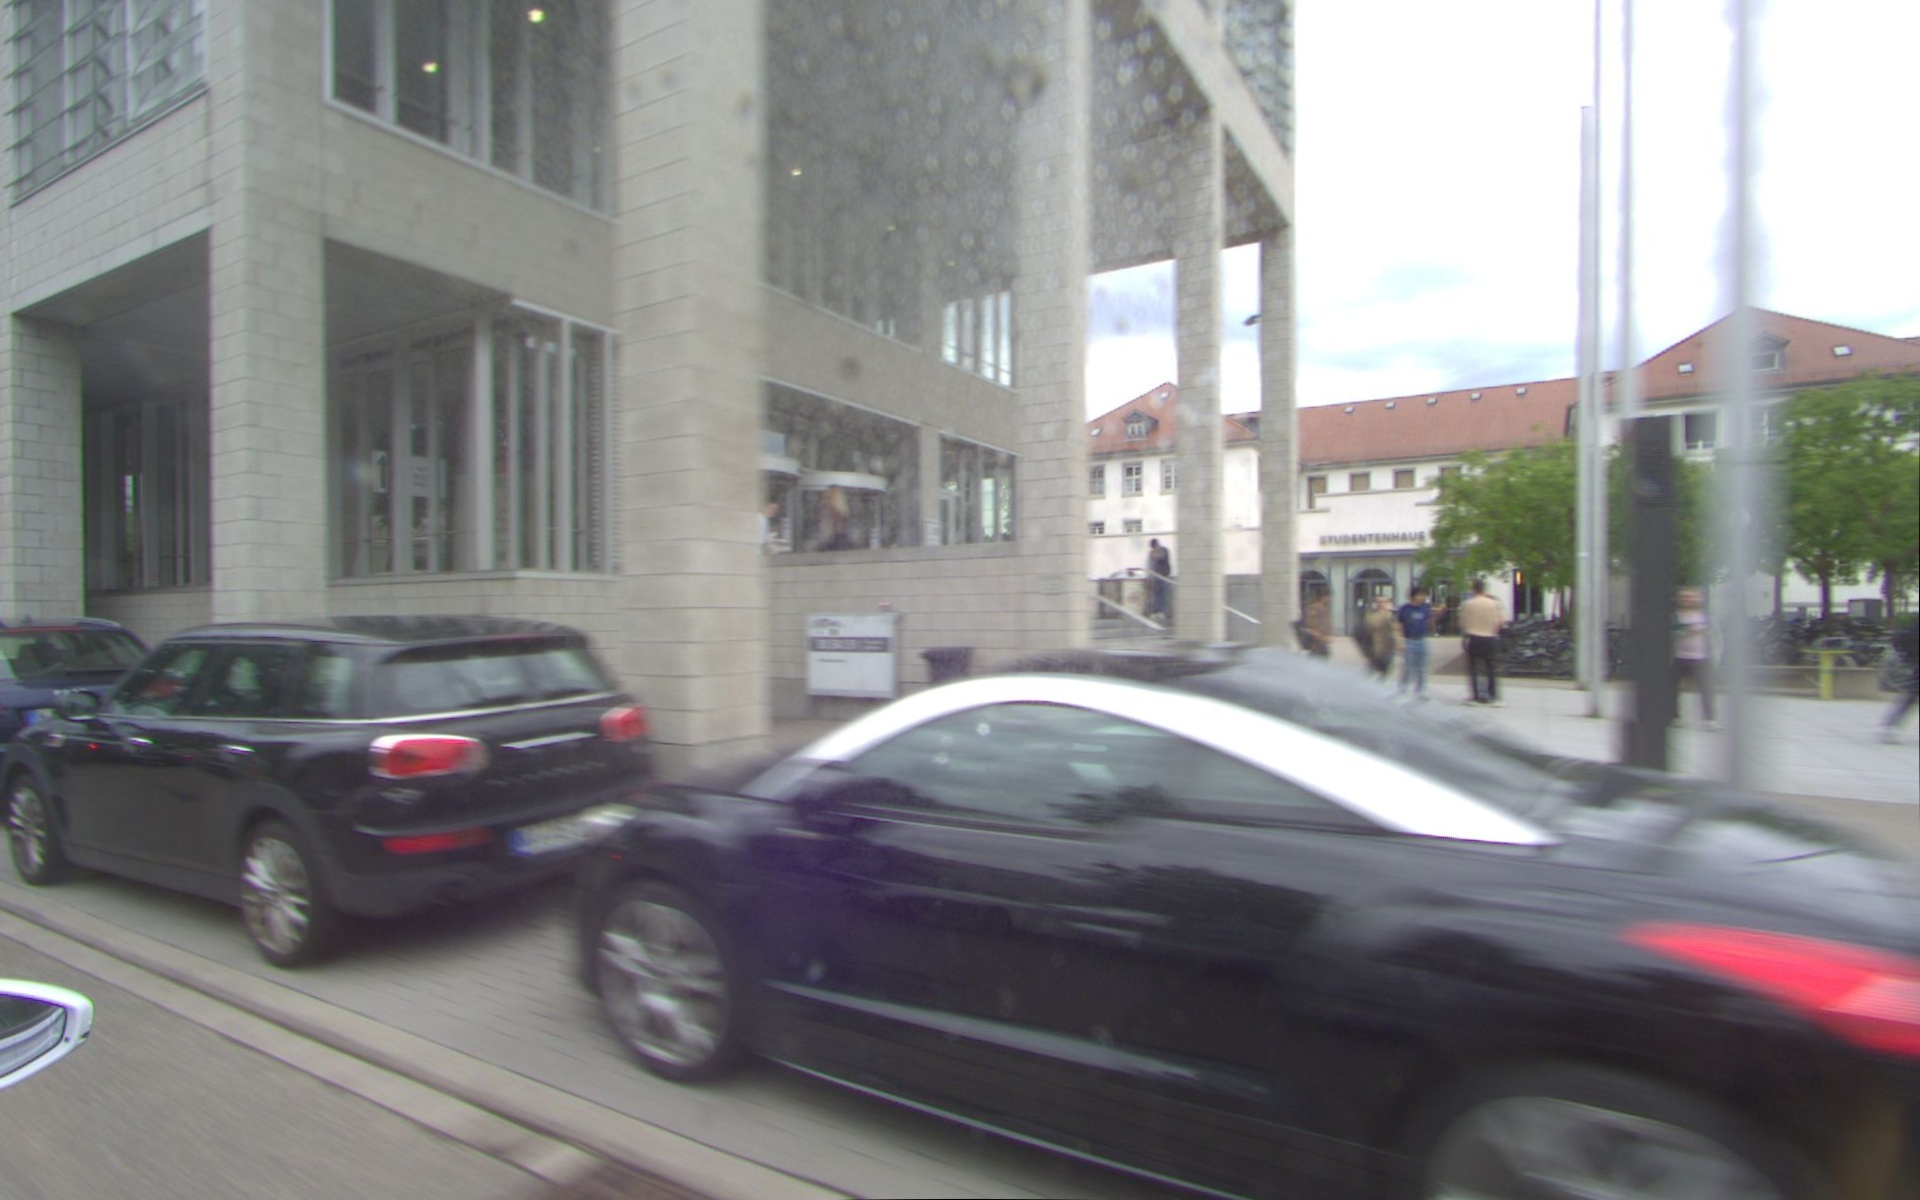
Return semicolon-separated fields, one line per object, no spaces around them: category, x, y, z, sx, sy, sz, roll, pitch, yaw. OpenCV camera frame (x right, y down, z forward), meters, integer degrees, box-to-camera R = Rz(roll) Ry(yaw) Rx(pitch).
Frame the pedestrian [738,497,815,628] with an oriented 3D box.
pedestrian;-2.463;-0.488;13.401;0.625;1.680;0.799;2;0;-43

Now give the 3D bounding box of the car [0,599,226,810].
car;-8.584;0.770;8.598;4.851;1.471;1.990;-1;-1;31

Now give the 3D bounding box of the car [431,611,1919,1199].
car;0.469;0.822;3.143;4.354;1.461;1.845;1;0;32

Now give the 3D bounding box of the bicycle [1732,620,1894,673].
bicycle;21.890;1.181;25.810;3.062;1.185;0.744;2;0;32

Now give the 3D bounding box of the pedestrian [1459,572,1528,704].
pedestrian;7.529;0.525;14.156;0.724;1.808;0.763;0;0;17

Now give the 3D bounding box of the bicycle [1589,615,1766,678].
bicycle;15.588;0.995;21.908;3.063;1.185;0.744;2;0;33

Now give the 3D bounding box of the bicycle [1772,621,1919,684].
bicycle;18.987;1.100;20.900;3.063;1.185;0.744;2;0;33

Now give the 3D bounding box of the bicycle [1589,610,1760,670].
bicycle;16.012;0.874;22.572;3.063;1.185;0.744;2;0;33

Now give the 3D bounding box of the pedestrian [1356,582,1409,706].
pedestrian;6.134;0.628;14.521;0.595;1.738;0.775;0;0;32

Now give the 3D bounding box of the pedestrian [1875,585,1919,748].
pedestrian;10.291;0.697;10.628;0.695;1.692;0.754;1;1;32

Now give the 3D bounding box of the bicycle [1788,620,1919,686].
bicycle;18.277;1.055;19.628;3.063;1.185;0.619;2;0;33

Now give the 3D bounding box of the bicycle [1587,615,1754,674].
bicycle;16.402;1.012;23.248;3.063;1.185;0.744;2;0;33

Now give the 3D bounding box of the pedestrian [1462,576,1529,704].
pedestrian;8.165;0.599;15.304;0.592;1.889;0.779;-1;0;1

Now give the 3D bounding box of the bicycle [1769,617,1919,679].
bicycle;19.520;1.031;21.648;3.063;1.185;0.744;2;0;33

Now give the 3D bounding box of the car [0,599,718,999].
car;-3.659;0.757;5.628;4.453;1.463;1.815;0;1;30

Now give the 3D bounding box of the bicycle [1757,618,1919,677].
bicycle;20.307;1.080;22.976;3.063;1.185;0.744;2;0;33

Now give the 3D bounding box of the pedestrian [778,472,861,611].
pedestrian;-1.792;-0.717;12.764;0.797;1.680;0.627;2;0;-34

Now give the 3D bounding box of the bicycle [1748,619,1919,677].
bicycle;20.655;1.103;23.679;3.063;1.185;0.744;2;0;33

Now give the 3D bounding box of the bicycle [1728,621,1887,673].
bicycle;22.309;1.206;26.463;3.062;1.185;0.744;2;0;32

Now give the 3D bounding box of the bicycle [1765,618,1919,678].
bicycle;19.953;1.057;22.295;3.063;1.185;0.744;2;0;33

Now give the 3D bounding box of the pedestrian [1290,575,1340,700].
pedestrian;5.427;0.568;15.291;0.611;1.864;0.590;0;-1;32

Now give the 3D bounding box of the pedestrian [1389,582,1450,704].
pedestrian;7.040;0.661;15.367;0.723;1.807;0.721;2;-2;17

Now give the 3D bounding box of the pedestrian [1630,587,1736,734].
pedestrian;8.643;0.707;12.016;0.918;1.662;0.733;2;0;32

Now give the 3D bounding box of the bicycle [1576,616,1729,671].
bicycle;17.173;1.064;24.951;3.063;1.185;0.744;2;0;33

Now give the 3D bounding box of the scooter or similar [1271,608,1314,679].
scooter or similar;6.777;0.862;20.469;0.397;1.387;1.492;2;0;3
